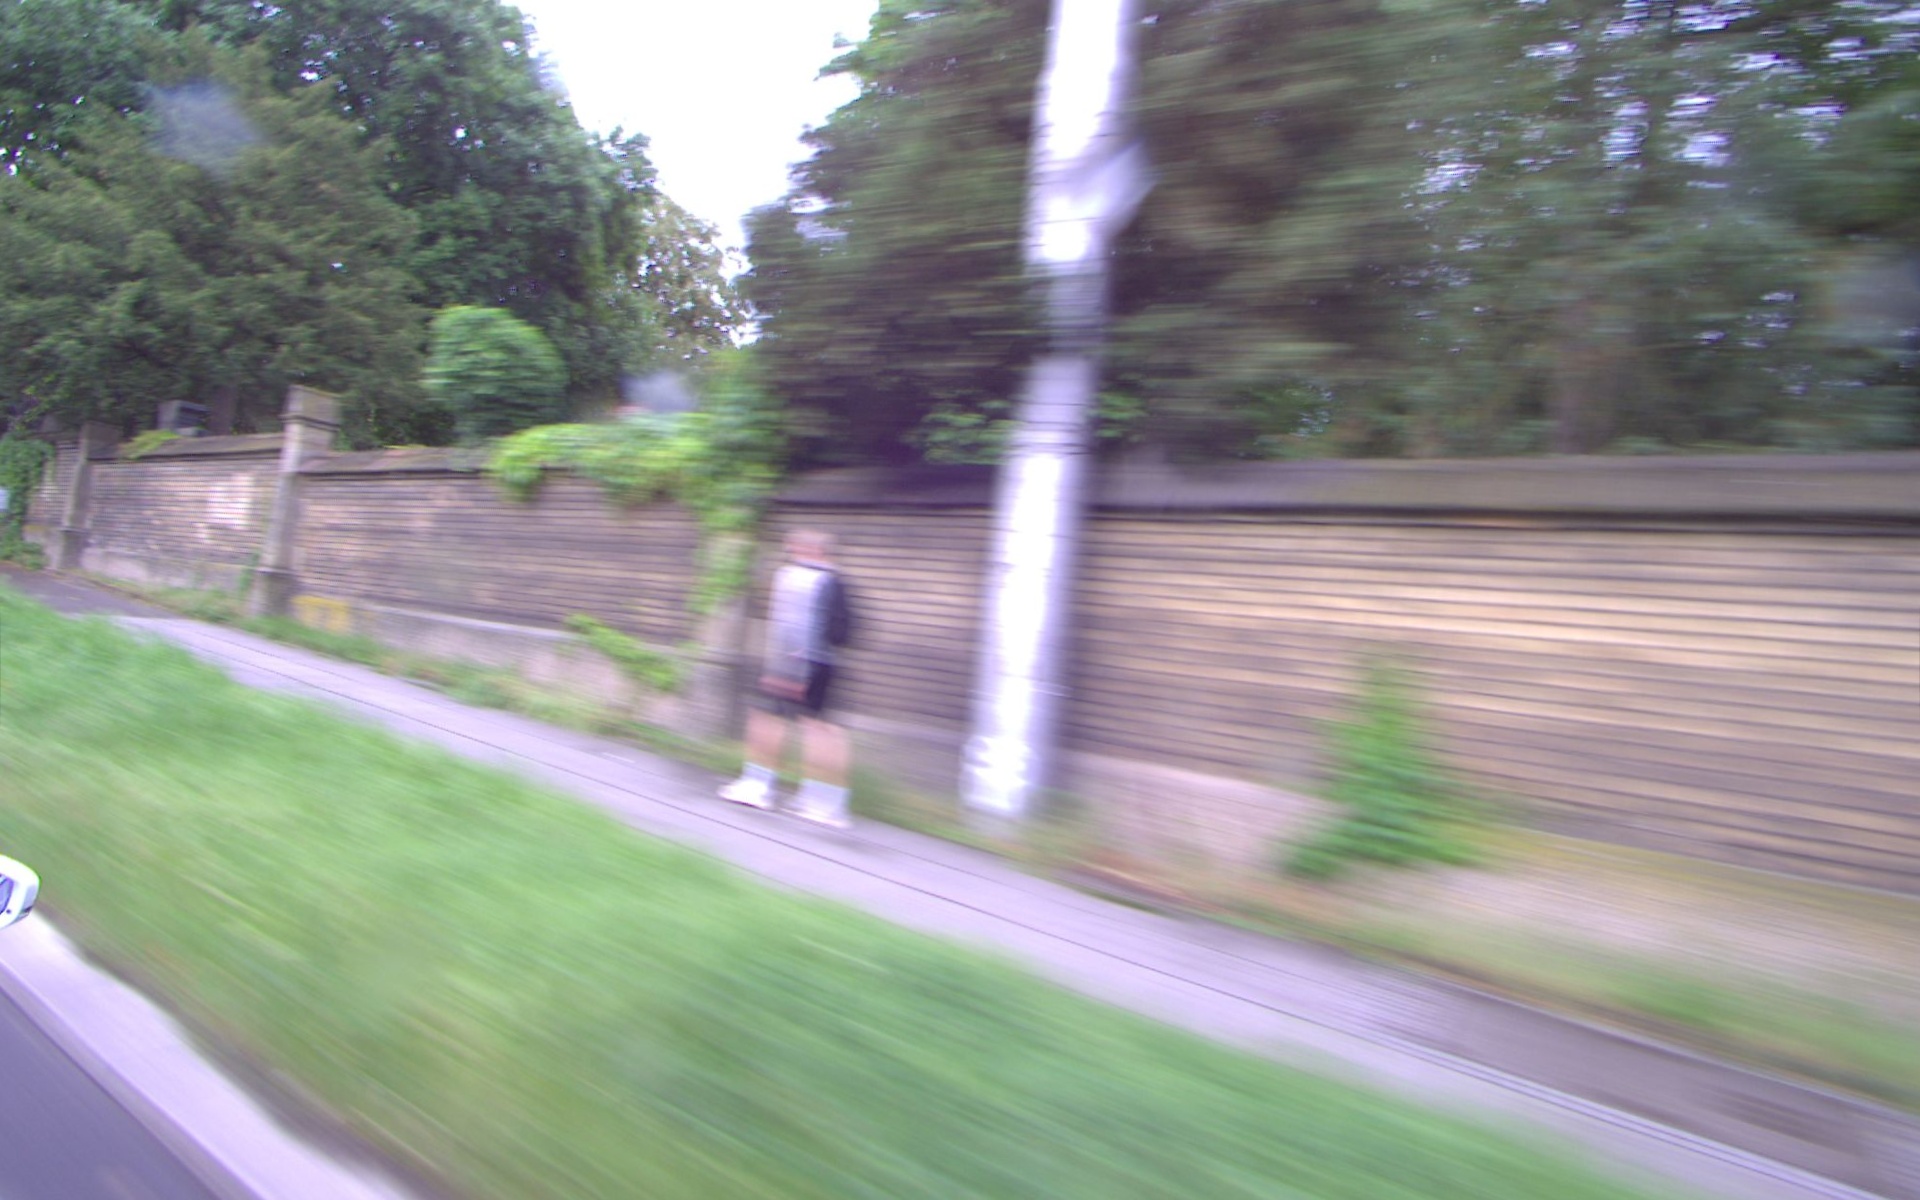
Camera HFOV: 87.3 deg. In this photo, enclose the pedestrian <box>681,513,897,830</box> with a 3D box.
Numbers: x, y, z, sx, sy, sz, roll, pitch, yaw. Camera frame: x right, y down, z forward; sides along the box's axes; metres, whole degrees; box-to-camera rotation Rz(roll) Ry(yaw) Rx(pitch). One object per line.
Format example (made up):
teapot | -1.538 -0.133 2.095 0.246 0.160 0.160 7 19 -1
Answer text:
pedestrian | -1.072 0.428 6.354 0.886 1.800 0.709 7 -1 32
